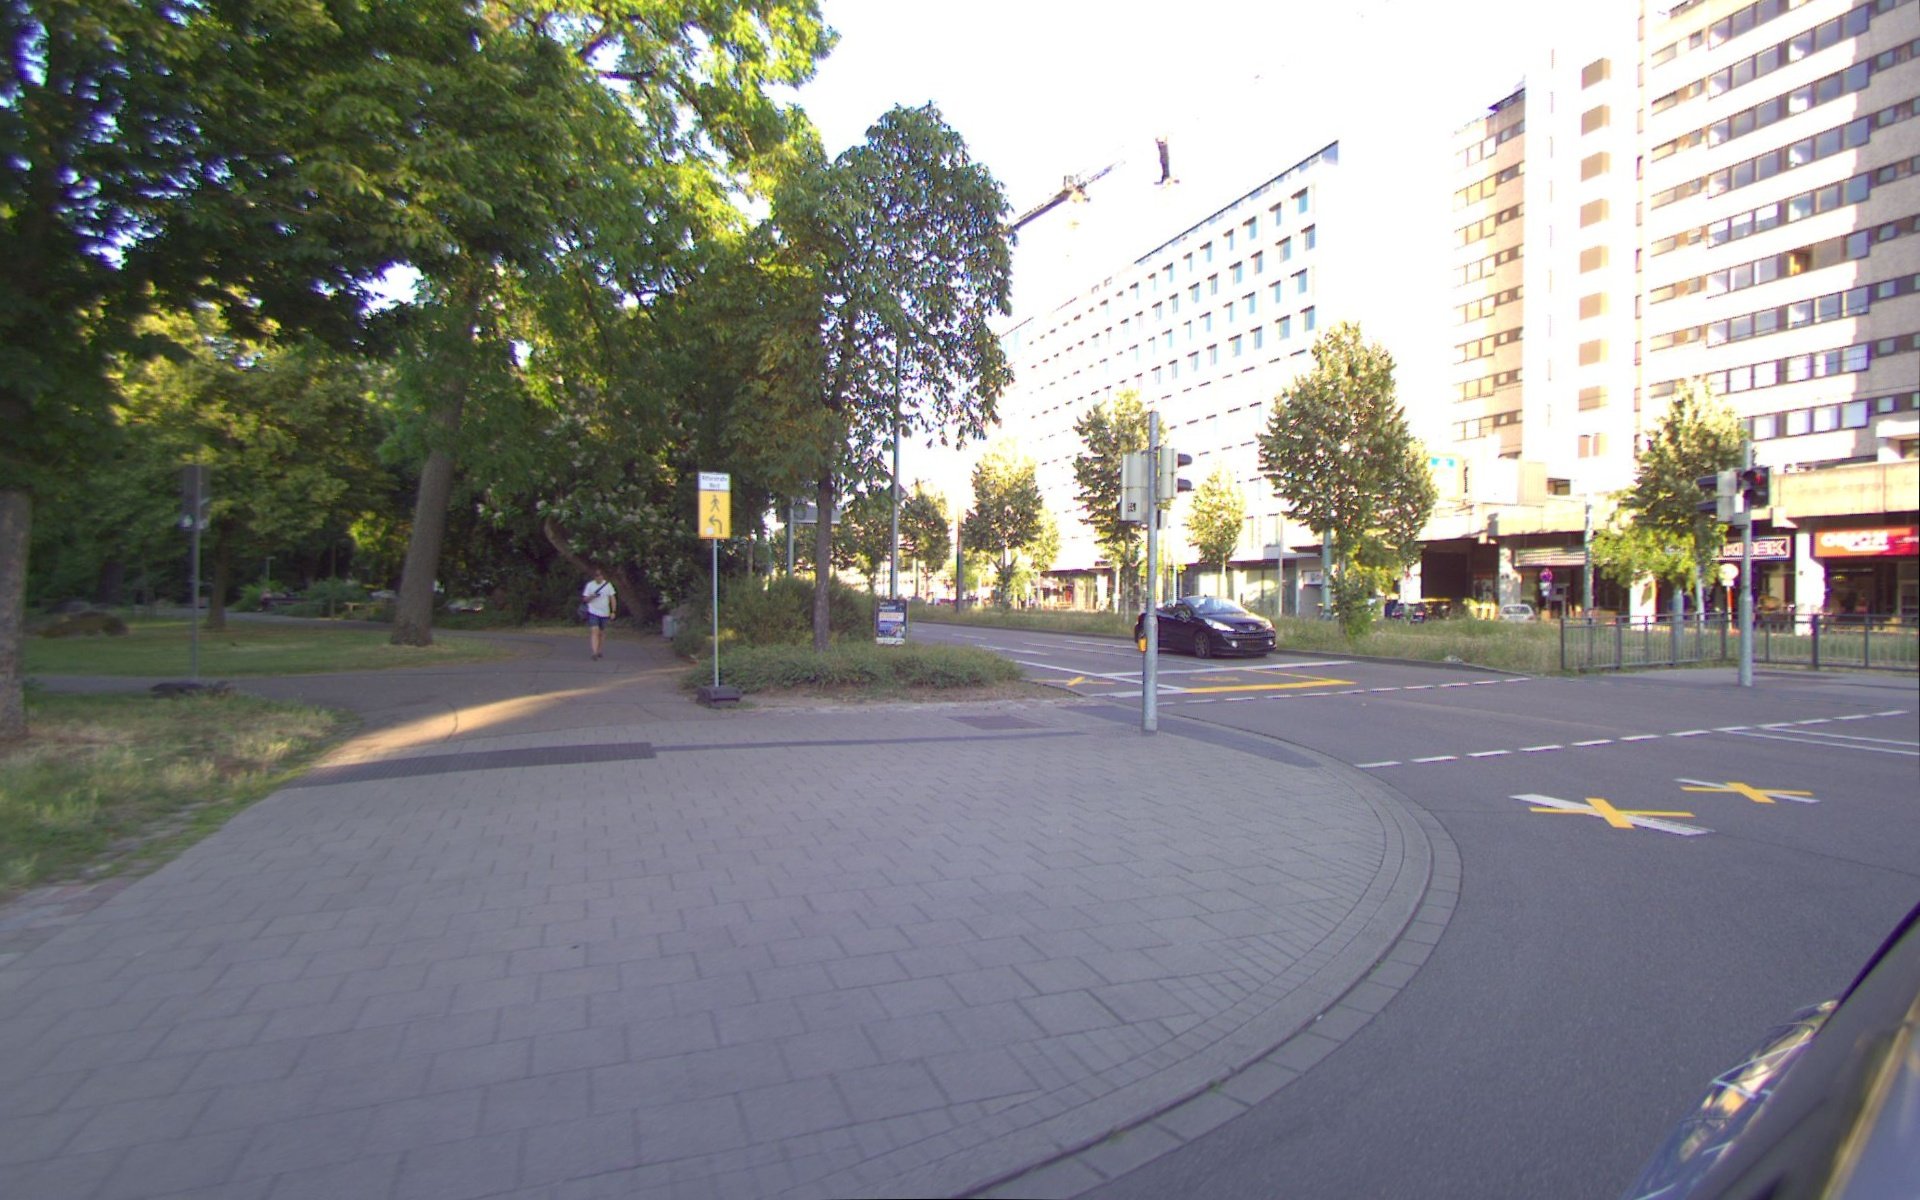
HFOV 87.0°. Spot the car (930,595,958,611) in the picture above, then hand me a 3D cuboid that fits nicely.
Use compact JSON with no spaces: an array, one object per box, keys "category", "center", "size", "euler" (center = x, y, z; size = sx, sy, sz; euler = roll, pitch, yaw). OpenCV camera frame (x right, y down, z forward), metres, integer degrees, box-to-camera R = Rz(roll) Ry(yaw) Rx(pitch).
[{"category":"car","center":[-1.749,0.300,108.579],"size":[1.686,1.581,4.340],"euler":[0,0,-20]}]

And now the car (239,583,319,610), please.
[{"category":"car","center":[-34.591,-0.193,51.438],"size":[3.179,1.371,1.560],"euler":[0,1,-44]}]

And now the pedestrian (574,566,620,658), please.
[{"category":"pedestrian","center":[-7.233,0.225,20.137],"size":[0.732,1.777,0.966],"euler":[0,0,-28]}]

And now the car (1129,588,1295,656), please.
[{"category":"car","center":[5.645,0.438,23.155],"size":[1.763,1.405,3.917],"euler":[0,0,-21]}]

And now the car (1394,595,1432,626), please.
[{"category":"car","center":[24.106,0.515,53.779],"size":[1.706,1.581,4.291],"euler":[0,0,26]}]

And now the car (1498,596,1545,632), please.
[{"category":"car","center":[26.553,0.632,47.940],"size":[1.706,1.581,4.291],"euler":[0,0,26]}]

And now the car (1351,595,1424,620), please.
[{"category":"car","center":[28.106,0.495,66.549],"size":[4.239,1.581,1.726],"euler":[0,0,-16]}]

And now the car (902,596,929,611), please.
[{"category":"car","center":[-4.765,0.361,107.381],"size":[1.686,1.581,4.340],"euler":[0,0,-20]}]
